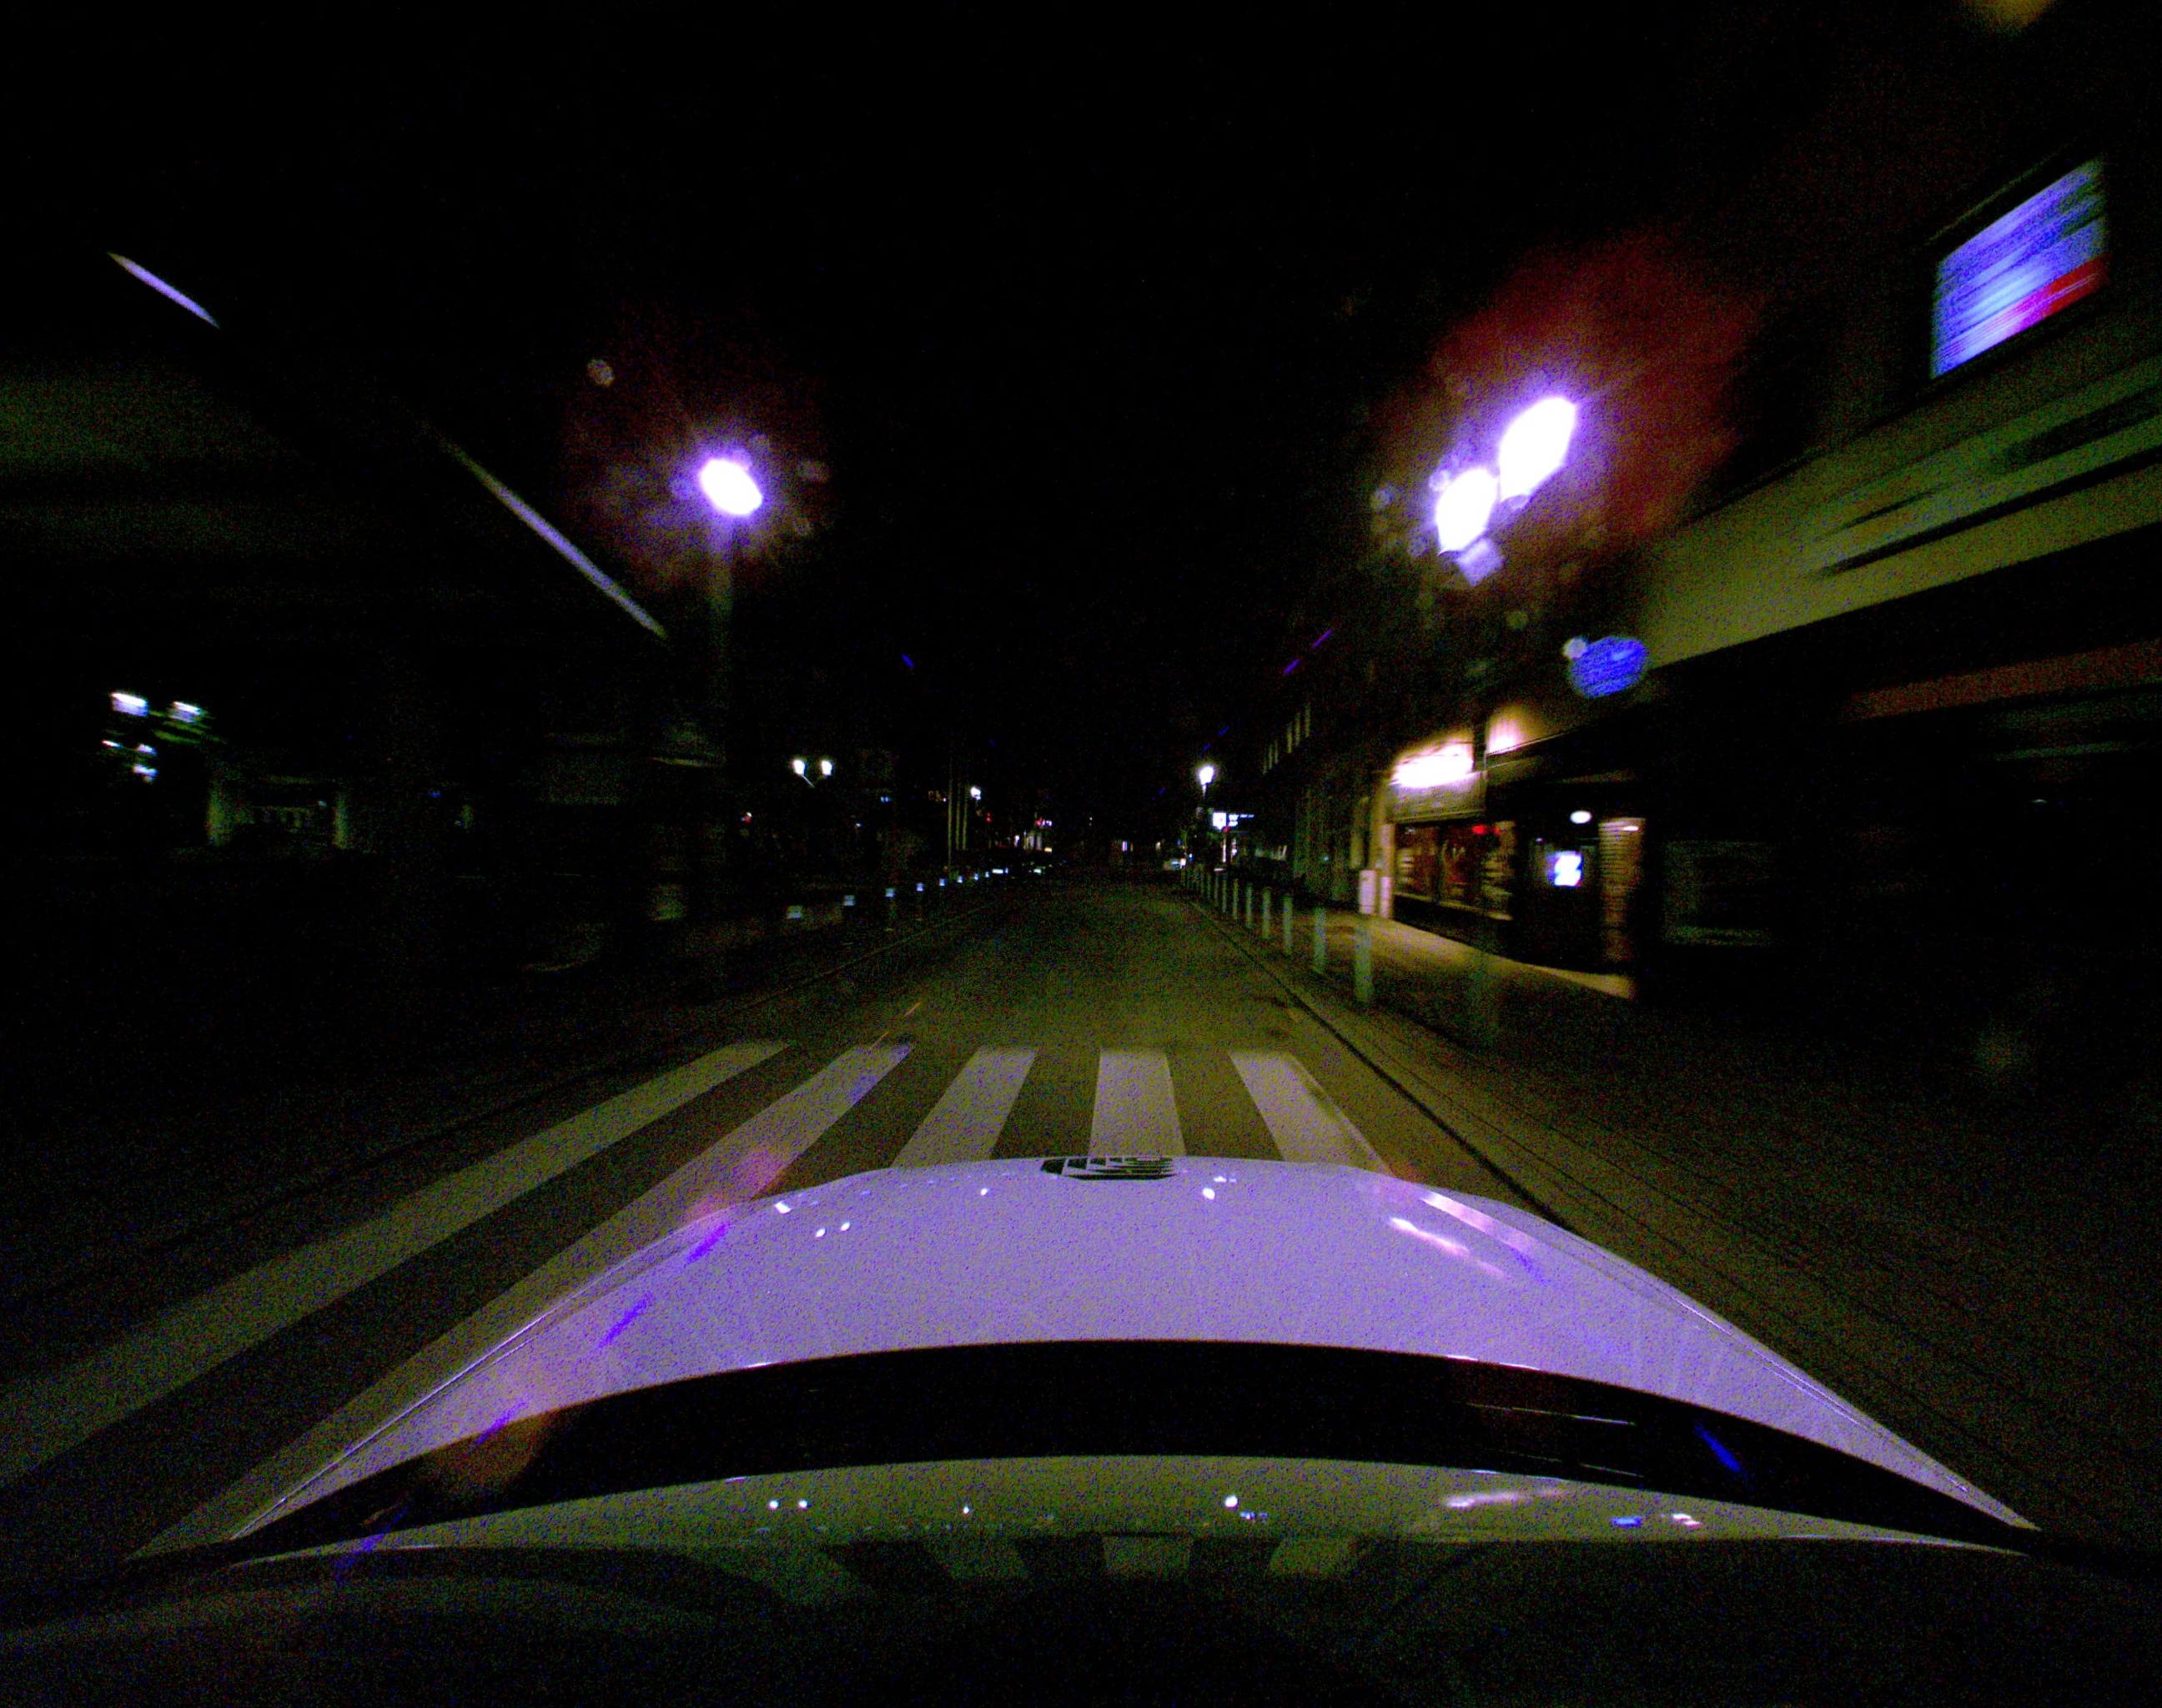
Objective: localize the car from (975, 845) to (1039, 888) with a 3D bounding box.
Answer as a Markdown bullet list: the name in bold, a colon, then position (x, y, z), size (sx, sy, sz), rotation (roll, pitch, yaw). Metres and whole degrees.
- **car**: position (-2.984, 0.498, 33.689), size (1.762, 1.574, 4.489), rotation (2, 0, 5)

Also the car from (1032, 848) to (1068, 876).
- **car**: position (-1.874, 0.487, 50.692), size (1.751, 1.637, 4.819), rotation (1, 0, 3)

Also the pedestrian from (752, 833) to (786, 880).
- **pedestrian**: position (-12.287, 0.100, 32.115), size (0.870, 1.831, 0.795), rotation (3, 0, 30)

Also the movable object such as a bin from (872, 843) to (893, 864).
- **movable object such as a bin**: position (-14.588, -0.034, 59.861), size (1.125, 1.457, 1.230), rotation (2, -1, 5)

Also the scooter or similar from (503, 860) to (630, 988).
- **scooter or similar**: position (-5.691, 0.729, 9.093), size (0.367, 1.264, 1.451), rotation (2, 1, 5)

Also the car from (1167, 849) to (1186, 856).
- **car**: position (22.399, -0.388, 190.661), size (4.134, 1.438, 1.849), rotation (-2, 0, 18)

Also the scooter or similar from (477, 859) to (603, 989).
- **scooter or similar**: position (-5.992, 0.724, 9.106), size (0.315, 1.288, 1.450), rotation (2, 1, 4)

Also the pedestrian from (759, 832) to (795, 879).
- **pedestrian**: position (-12.335, 0.061, 33.091), size (0.785, 1.817, 1.029), rotation (3, 0, 24)

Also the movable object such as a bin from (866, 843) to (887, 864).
- **movable object such as a bin**: position (-14.698, -0.019, 58.559), size (1.031, 1.444, 1.288), rotation (2, -1, 5)

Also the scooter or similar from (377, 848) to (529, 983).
- **scooter or similar**: position (-7.006, 0.634, 9.165), size (0.593, 1.380, 1.353), rotation (1, 1, 4)

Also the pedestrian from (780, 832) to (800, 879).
- **pedestrian**: position (-11.595, 0.059, 32.404), size (0.496, 1.822, 0.506), rotation (0, -1, 28)

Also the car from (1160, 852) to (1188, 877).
- **car**: position (6.050, 0.675, 52.997), size (1.733, 1.487, 4.644), rotation (1, -1, 6)

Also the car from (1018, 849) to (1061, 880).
- **car**: position (-2.194, 0.539, 44.141), size (1.898, 1.541, 4.784), rotation (2, 0, 2)
